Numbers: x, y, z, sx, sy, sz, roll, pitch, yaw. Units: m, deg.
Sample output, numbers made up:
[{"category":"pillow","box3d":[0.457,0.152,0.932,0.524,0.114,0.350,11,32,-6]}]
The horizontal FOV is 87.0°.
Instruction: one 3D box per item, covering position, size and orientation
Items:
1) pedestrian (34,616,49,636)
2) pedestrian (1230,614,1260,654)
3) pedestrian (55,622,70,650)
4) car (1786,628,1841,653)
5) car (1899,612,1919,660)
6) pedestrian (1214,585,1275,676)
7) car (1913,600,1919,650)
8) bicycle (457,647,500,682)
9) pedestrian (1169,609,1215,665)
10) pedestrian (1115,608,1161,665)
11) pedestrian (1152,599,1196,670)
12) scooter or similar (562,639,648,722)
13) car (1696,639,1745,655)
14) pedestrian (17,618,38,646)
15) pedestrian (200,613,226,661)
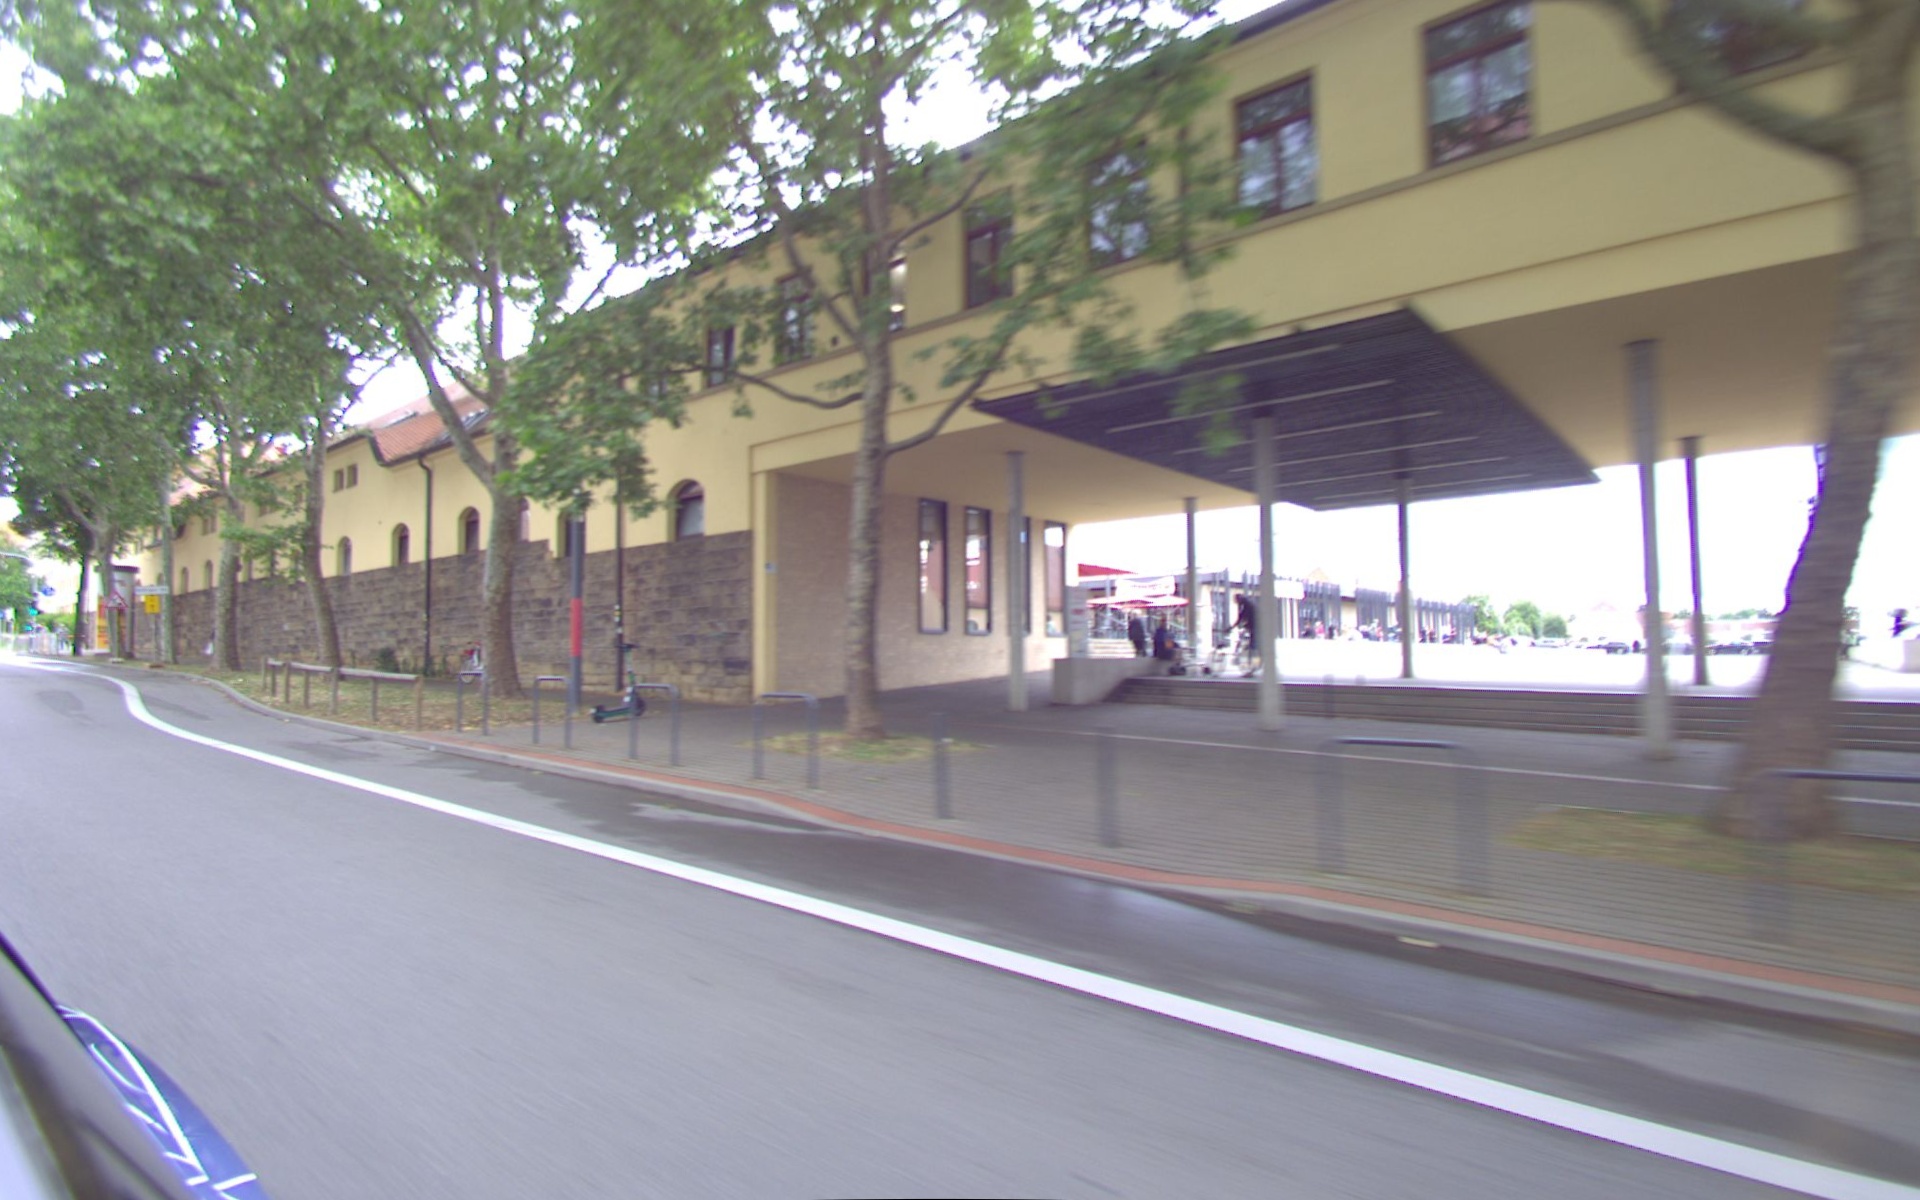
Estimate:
[{"category":"pedestrian","box3d":[-94.365,2.678,103.928,1.097,2.005,1.029,-1,-1,42]},{"category":"pedestrian","box3d":[11.110,1.320,39.436,0.811,1.534,0.951,-2,-1,40]},{"category":"pedestrian","box3d":[-55.244,2.219,62.291,0.549,1.675,0.617,-1,-1,42]},{"category":"car","box3d":[86.068,4.074,102.066,1.970,2.392,4.003,0,0,-44]},{"category":"car","box3d":[31.989,1.119,31.543,3.809,1.490,1.685,-2,-1,37]},{"category":"pedestrian","box3d":[5.823,0.626,20.705,0.799,1.804,0.905,1,-2,-44]},{"category":"car","box3d":[30.486,0.716,29.432,3.809,1.490,1.685,-2,-1,37]},{"category":"bicycle","box3d":[-12.619,1.665,26.492,1.775,0.852,0.332,-1,-1,41]},{"category":"pedestrian","box3d":[6.466,1.017,28.215,0.963,1.534,0.800,-2,-1,41]},{"category":"pedestrian","box3d":[4.863,0.984,27.639,0.963,1.534,0.800,-2,-1,41]},{"category":"pedestrian","box3d":[4.614,0.735,21.816,0.760,1.500,0.567,0,0,42]},{"category":"scooter or similar","box3d":[-5.784,1.283,16.555,0.443,1.249,1.611,-1,-1,18]},{"category":"car","box3d":[78.563,4.811,104.512,3.996,1.497,1.974,0,0,39]},{"category":"pedestrian","box3d":[-56.922,1.951,61.780,0.932,1.699,0.843,-1,-1,42]},{"category":"pedestrian","box3d":[-29.754,1.452,40.312,0.816,1.890,0.664,-1,-1,42]}]
